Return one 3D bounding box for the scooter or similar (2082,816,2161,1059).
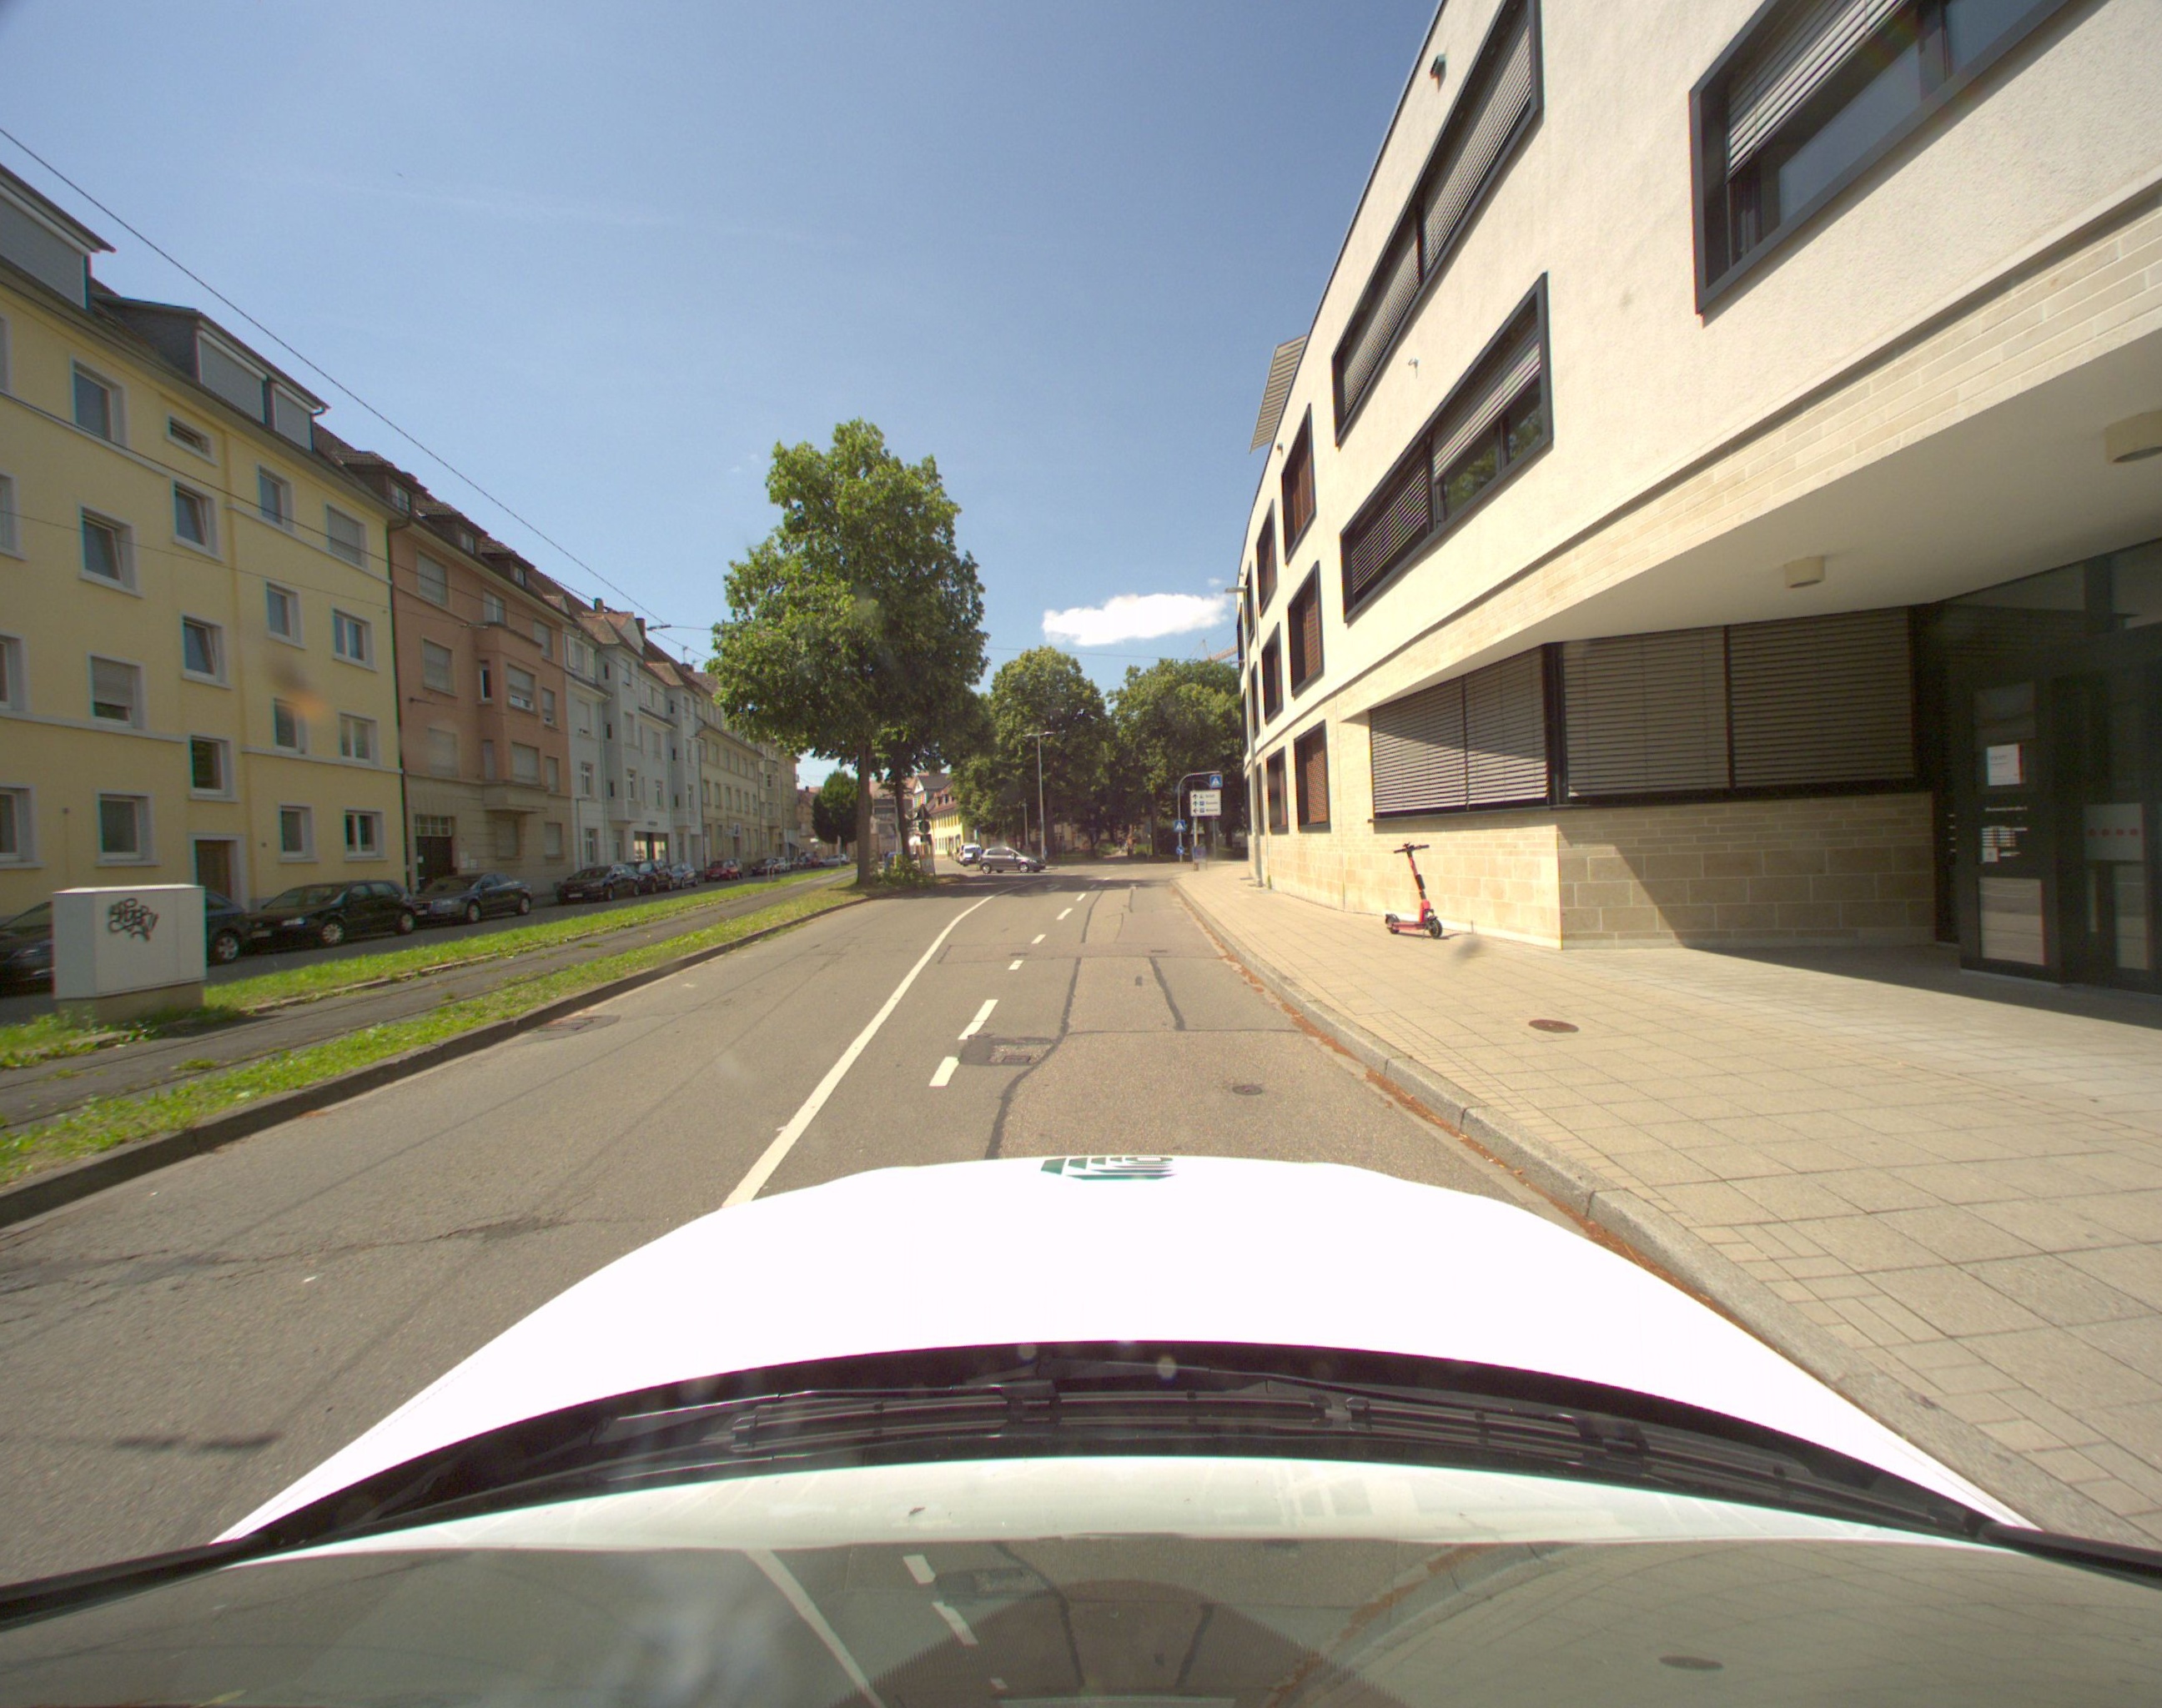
[{"bbox_3d":[5.673,0.421,3.741,0.422,1.211,1.312,-3,1,-7],"label":"scooter or similar"}]

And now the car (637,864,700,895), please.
[{"bbox_3d":[-22.140,1.341,43.872,1.808,1.356,4.234,-5,1,-11],"label":"car"}]

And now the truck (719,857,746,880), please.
[{"bbox_3d":[-24.957,1.041,58.349,1.127,1.494,2.584,-5,1,-12],"label":"truck"}]

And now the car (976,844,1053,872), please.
[{"bbox_3d":[-4.006,0.261,49.097,4.192,1.533,1.920,-2,1,23],"label":"car"}]

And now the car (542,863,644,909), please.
[{"bbox_3d":[-20.159,1.273,33.892,1.928,1.490,4.846,-5,1,-10],"label":"car"}]

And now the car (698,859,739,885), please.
[{"bbox_3d":[-24.071,1.181,54.145,1.572,1.451,3.612,-5,1,-11],"label":"car"}]

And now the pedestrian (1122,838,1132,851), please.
[{"bbox_3d":[4.534,-0.938,80.741,0.901,1.251,1.150,-2,2,5],"label":"pedestrian"}]

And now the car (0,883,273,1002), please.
[{"bbox_3d":[-16.685,1.427,13.942,1.930,1.504,4.307,-4,1,-13],"label":"car"}]

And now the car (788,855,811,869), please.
[{"bbox_3d":[-30.350,0.845,88.008,1.642,1.277,4.249,-5,1,-11],"label":"car"}]

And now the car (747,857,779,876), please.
[{"bbox_3d":[-26.907,1.035,69.052,1.687,1.360,3.843,-5,1,-11],"label":"car"}]

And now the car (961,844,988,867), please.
[{"bbox_3d":[-9.242,0.117,70.144,1.994,1.826,4.406,-3,1,-11],"label":"car"}]

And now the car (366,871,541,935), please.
[{"bbox_3d":[-18.321,1.349,24.140,1.928,1.397,4.847,-5,1,-9],"label":"car"}]

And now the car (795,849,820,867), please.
[{"bbox_3d":[-31.218,0.424,93.085,1.854,1.911,4.754,-5,1,-11],"label":"car"}]

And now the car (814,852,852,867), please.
[{"bbox_3d":[-30.149,0.659,99.246,4.210,1.504,1.994,-5,1,-15],"label":"car"}]

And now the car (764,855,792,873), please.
[{"bbox_3d":[-27.726,0.885,74.552,1.687,1.390,3.843,-5,1,-11],"label":"car"}]

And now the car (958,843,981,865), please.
[{"bbox_3d":[-10.759,-0.033,78.248,2.049,2.002,5.232,-3,1,-9],"label":"car"}]

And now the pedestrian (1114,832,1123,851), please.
[{"bbox_3d":[3.764,-1.276,81.569,0.744,1.910,0.685,-2,2,4],"label":"pedestrian"}]

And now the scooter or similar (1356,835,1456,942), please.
[{"bbox_3d":[4.227,0.418,10.690,0.580,1.260,1.365,-5,1,-5],"label":"scooter or similar"}]

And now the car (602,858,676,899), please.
[{"bbox_3d":[-21.245,1.133,39.308,1.837,1.685,4.127,-5,1,-11],"label":"car"}]

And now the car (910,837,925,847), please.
[{"bbox_3d":[-26.848,-1.986,133.577,1.865,1.486,3.977,-3,1,-17],"label":"car"}]

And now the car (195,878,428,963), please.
[{"bbox_3d":[-17.381,1.415,18.722,1.831,1.400,4.128,-4,1,-10],"label":"car"}]
